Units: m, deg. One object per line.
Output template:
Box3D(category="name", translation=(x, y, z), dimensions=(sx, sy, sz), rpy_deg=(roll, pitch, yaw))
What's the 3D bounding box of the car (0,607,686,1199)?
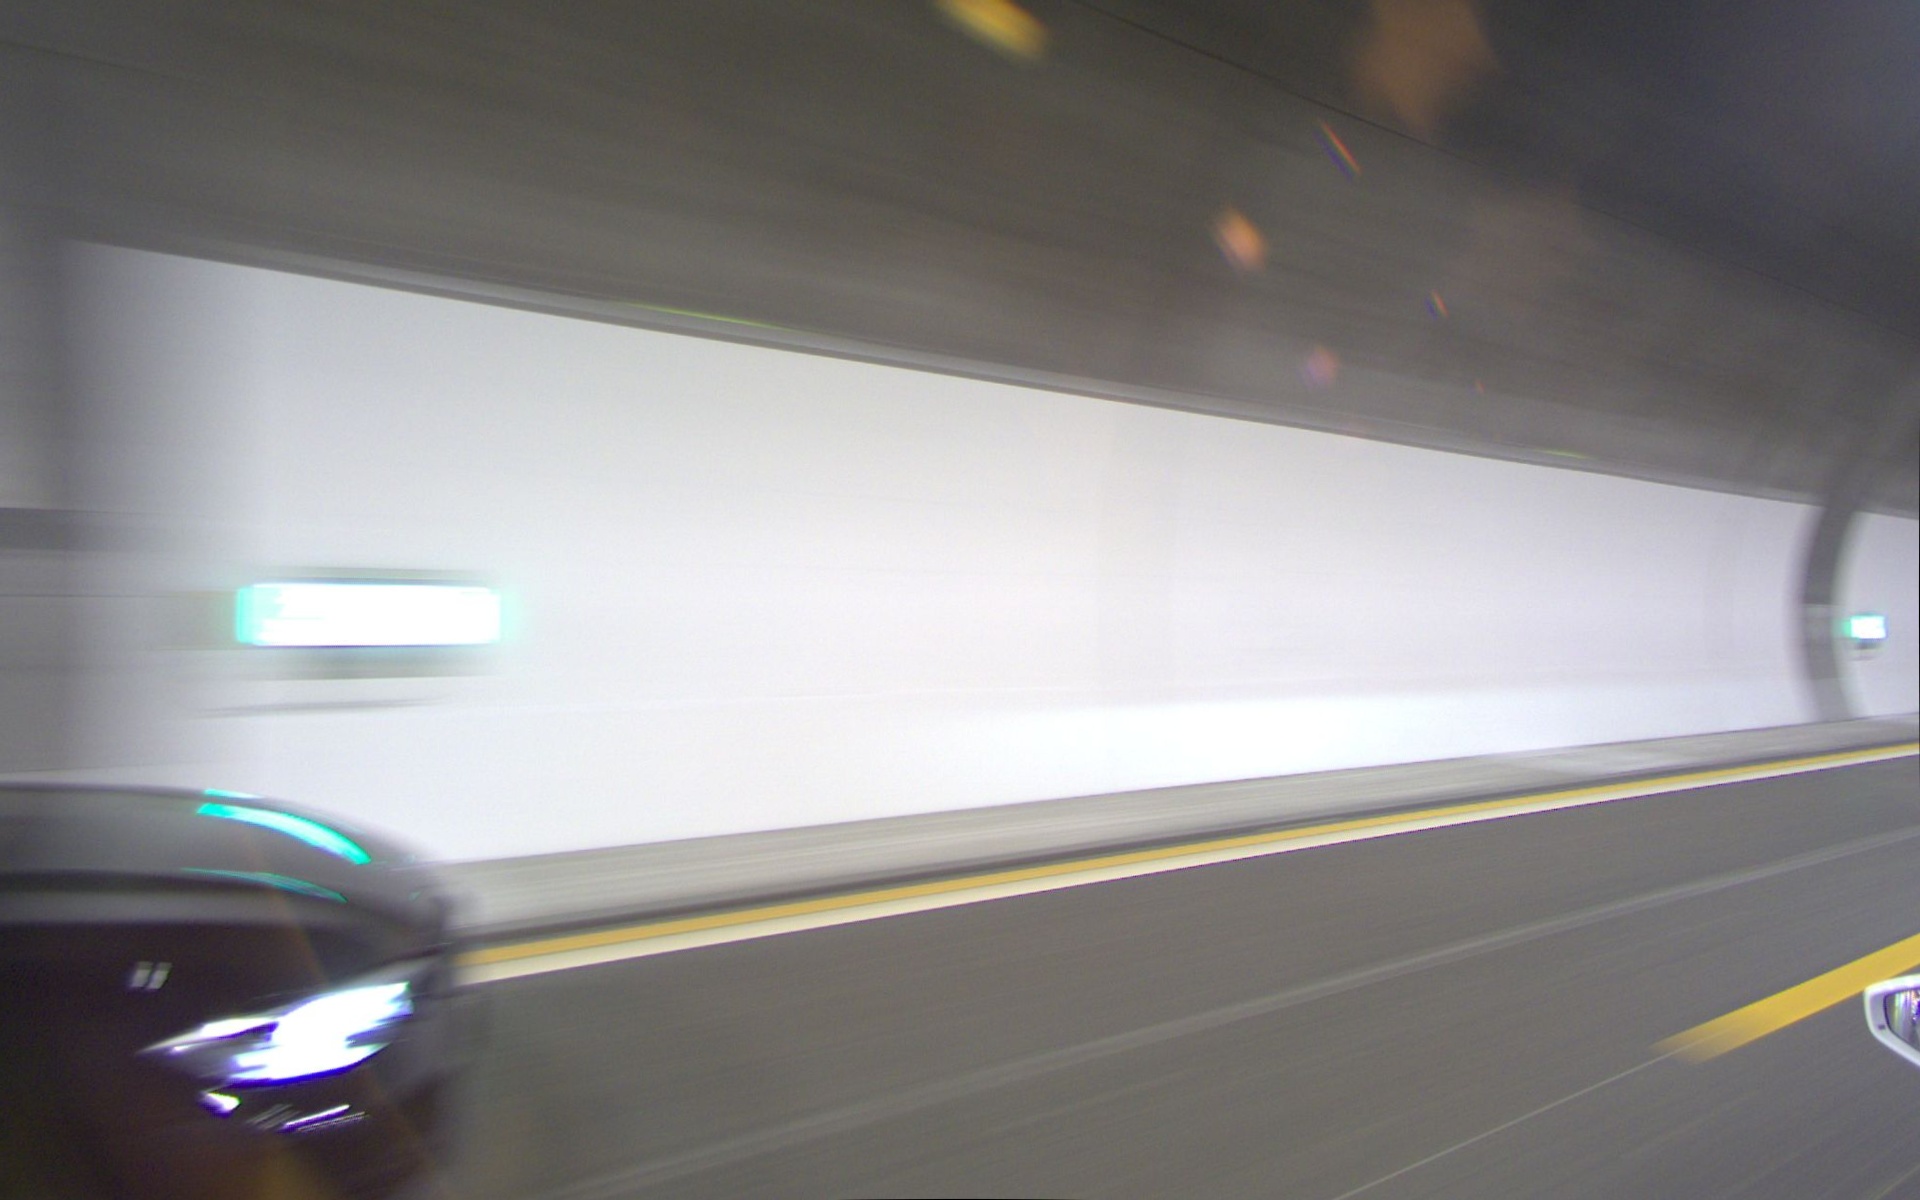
Box3D(category="car", translation=(-3.044, 0.736, 1.449), dimensions=(4.827, 1.457, 1.769), rpy_deg=(1, 0, -31))
